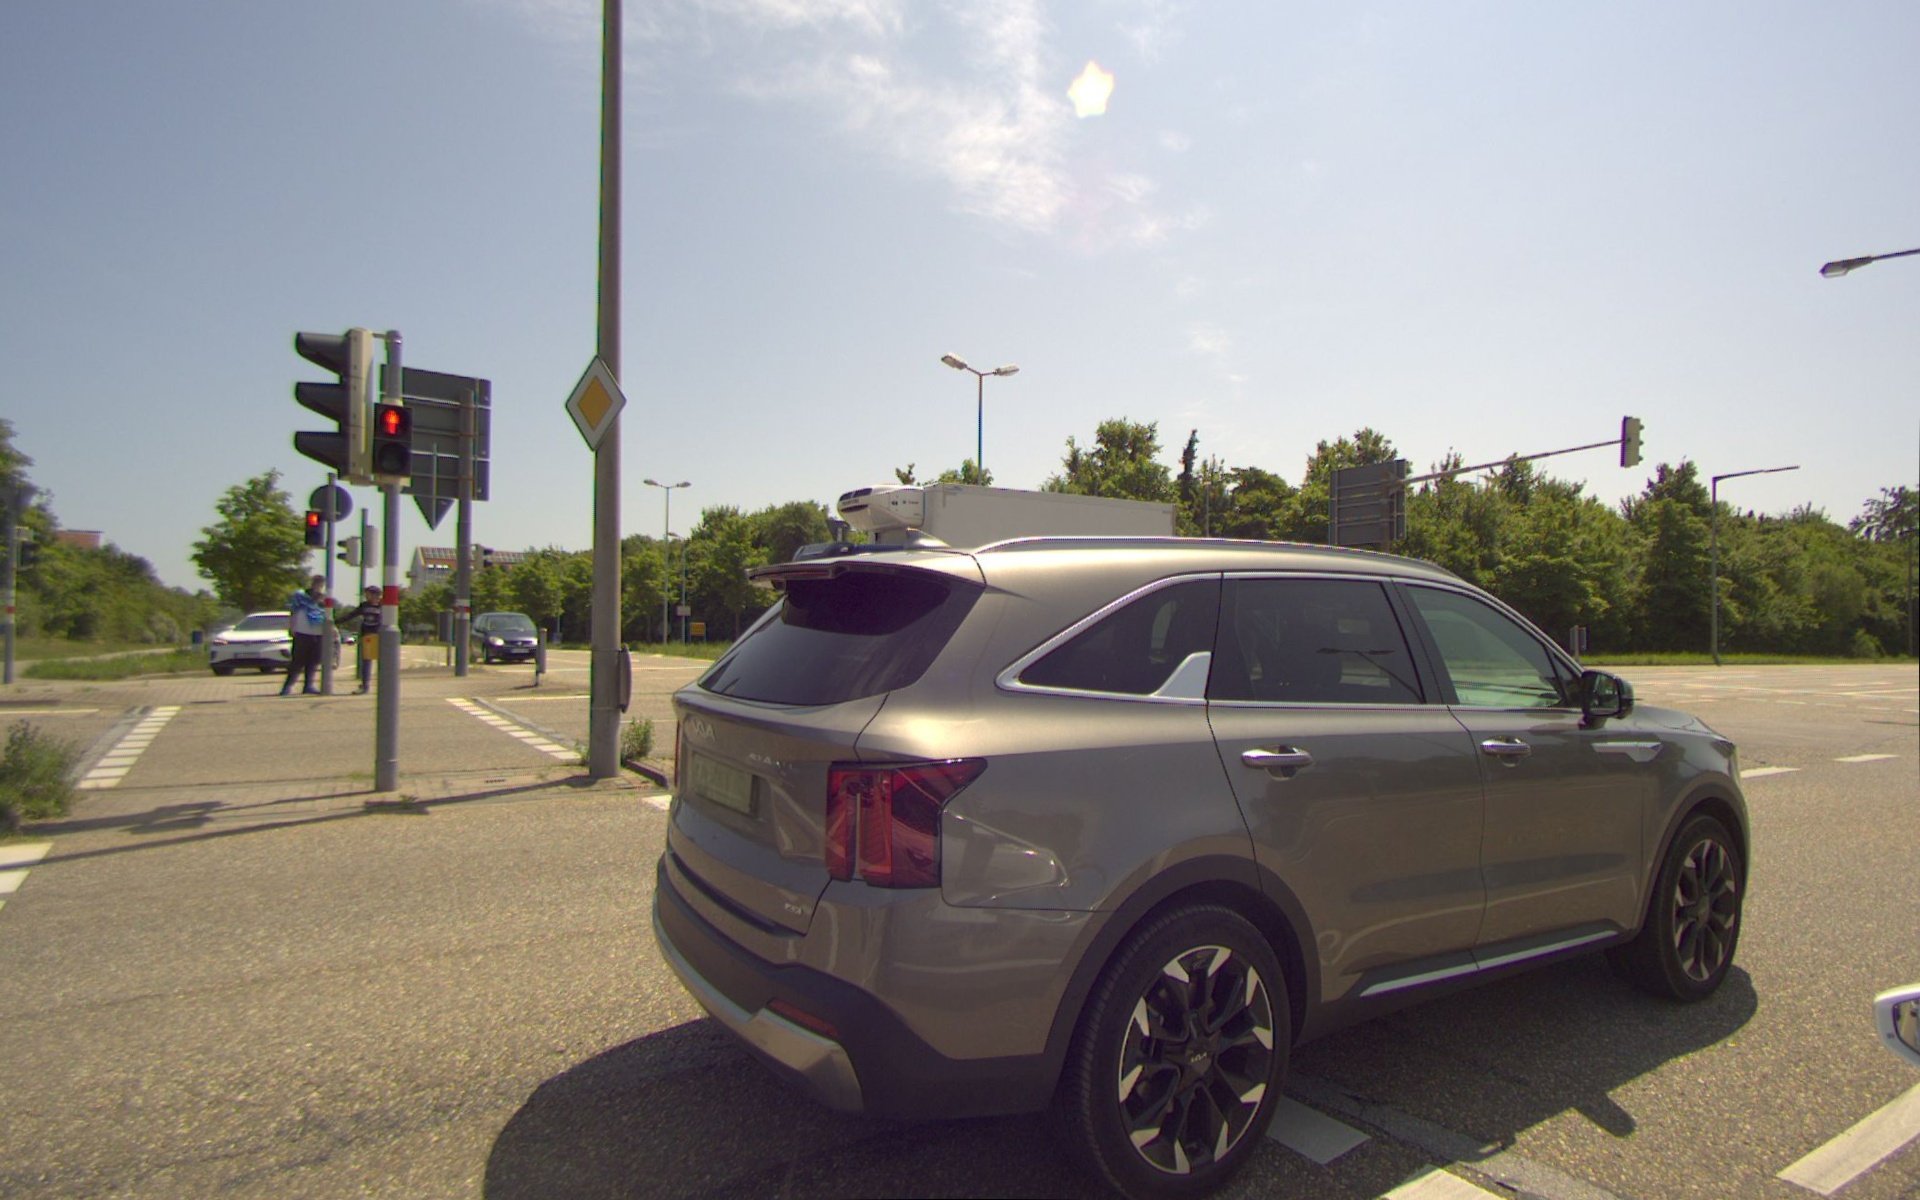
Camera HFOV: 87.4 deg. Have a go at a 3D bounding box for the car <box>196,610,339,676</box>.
[{"bbox_3d":[-18.014,1.120,26.376,1.849,1.521,4.295,-2,-2,-17],"label":"car"}]

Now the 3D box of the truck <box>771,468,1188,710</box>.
[{"bbox_3d":[0.505,-0.070,18.083,7.184,3.618,2.674,2,-1,-31],"label":"truck"}]

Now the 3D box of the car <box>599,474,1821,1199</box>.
[{"bbox_3d":[1.202,0.688,3.826,4.590,1.684,1.795,2,-2,-31],"label":"car"}]

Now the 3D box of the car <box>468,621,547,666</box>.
[{"bbox_3d":[-14.474,1.361,32.032,1.685,1.353,3.964,2,-2,-33],"label":"car"}]

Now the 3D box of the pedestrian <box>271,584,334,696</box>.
[{"bbox_3d":[-10.637,0.642,16.254,0.780,1.759,0.581,0,-1,35],"label":"pedestrian"}]

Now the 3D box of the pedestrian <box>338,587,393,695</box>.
[{"bbox_3d":[-9.800,0.674,16.555,0.717,1.722,0.768,1,-1,-34],"label":"pedestrian"}]
